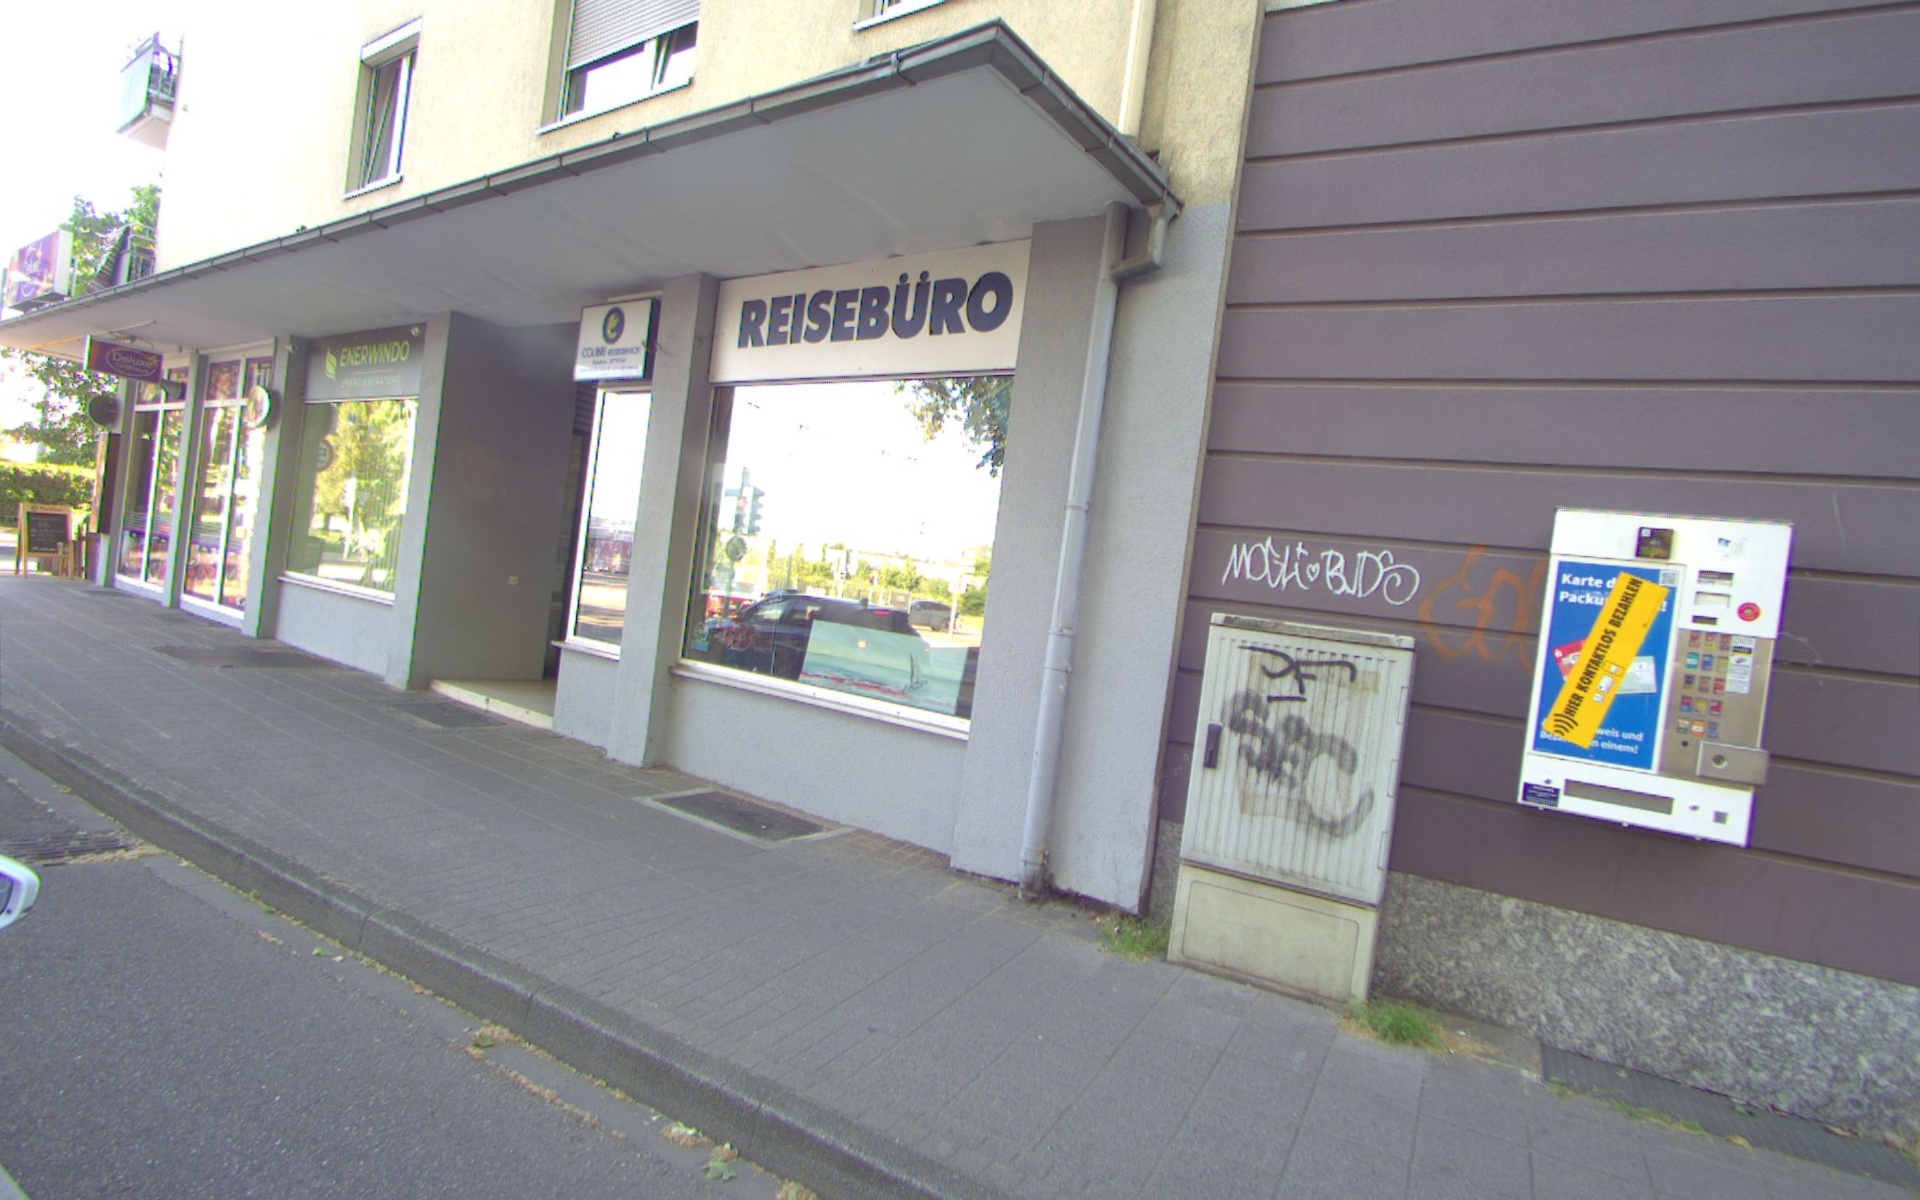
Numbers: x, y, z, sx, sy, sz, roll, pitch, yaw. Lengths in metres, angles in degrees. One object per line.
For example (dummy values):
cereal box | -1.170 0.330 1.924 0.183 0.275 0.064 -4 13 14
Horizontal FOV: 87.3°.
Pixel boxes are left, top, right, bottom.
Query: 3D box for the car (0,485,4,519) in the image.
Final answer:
car | -23.440 -2.120 21.001 1.910 1.491 4.727 7 -1 37
